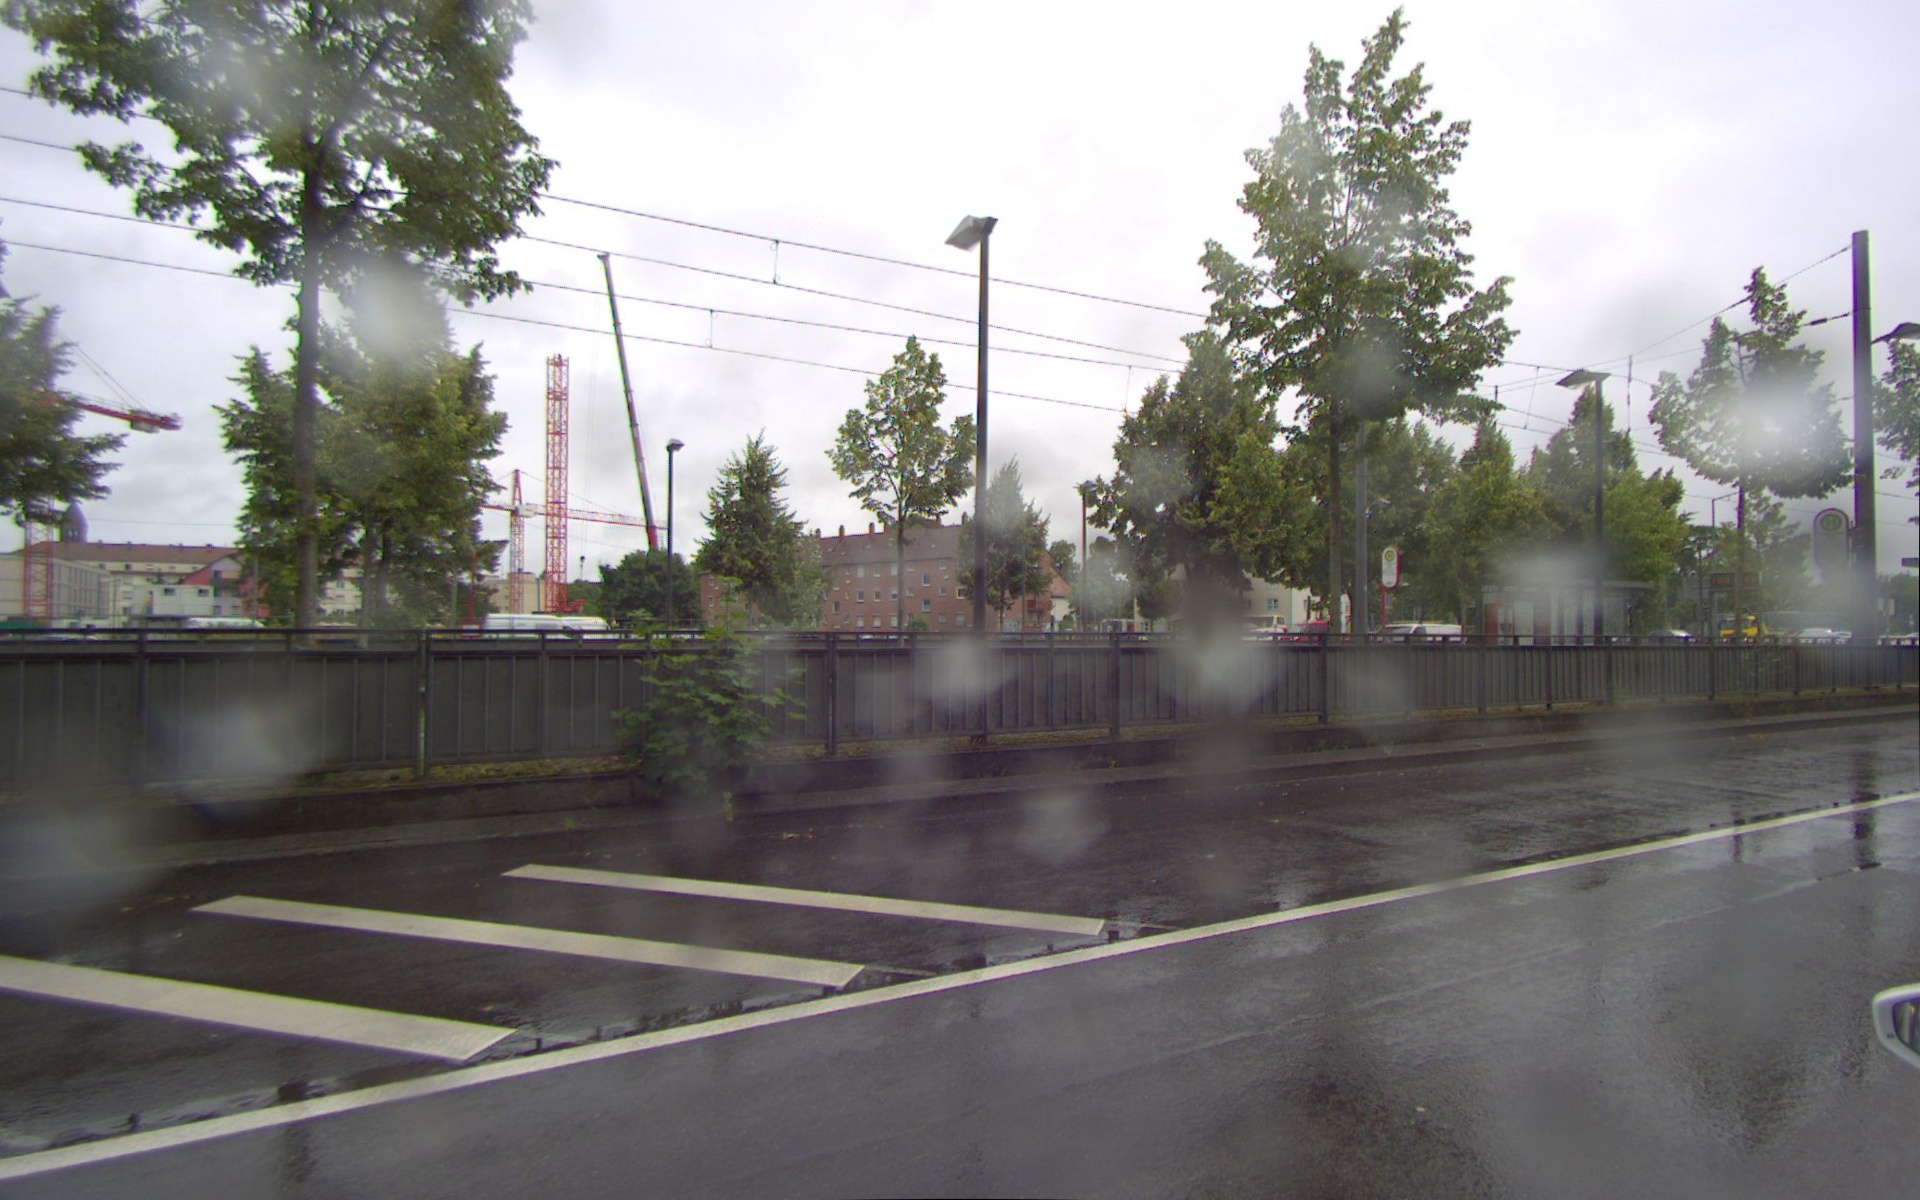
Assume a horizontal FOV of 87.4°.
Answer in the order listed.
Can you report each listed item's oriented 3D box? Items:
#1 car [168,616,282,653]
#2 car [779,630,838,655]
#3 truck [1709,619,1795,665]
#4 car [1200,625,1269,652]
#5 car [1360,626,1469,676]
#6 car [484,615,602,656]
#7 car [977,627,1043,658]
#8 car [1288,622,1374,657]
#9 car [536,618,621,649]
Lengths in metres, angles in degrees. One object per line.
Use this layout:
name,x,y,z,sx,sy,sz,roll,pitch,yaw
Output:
car,-49.264,2.287,67.434,6.090,2.336,1.978,2,0,-39
car,-12.312,3.445,81.628,4.384,1.902,1.857,2,0,-36
truck,69.860,3.685,88.521,9.072,3.828,2.675,2,0,-30
car,24.201,3.353,88.544,6.002,2.308,1.618,0,-2,-17
car,17.609,1.959,38.885,3.956,1.770,1.983,2,0,-32
car,-26.611,2.282,64.281,6.678,2.494,1.981,2,0,-34
car,4.240,3.571,84.676,5.439,2.485,1.981,2,0,-35
car,27.293,2.883,73.839,6.387,2.503,1.617,0,-1,-19
car,-27.174,2.422,71.669,5.365,2.079,1.981,2,0,-34
